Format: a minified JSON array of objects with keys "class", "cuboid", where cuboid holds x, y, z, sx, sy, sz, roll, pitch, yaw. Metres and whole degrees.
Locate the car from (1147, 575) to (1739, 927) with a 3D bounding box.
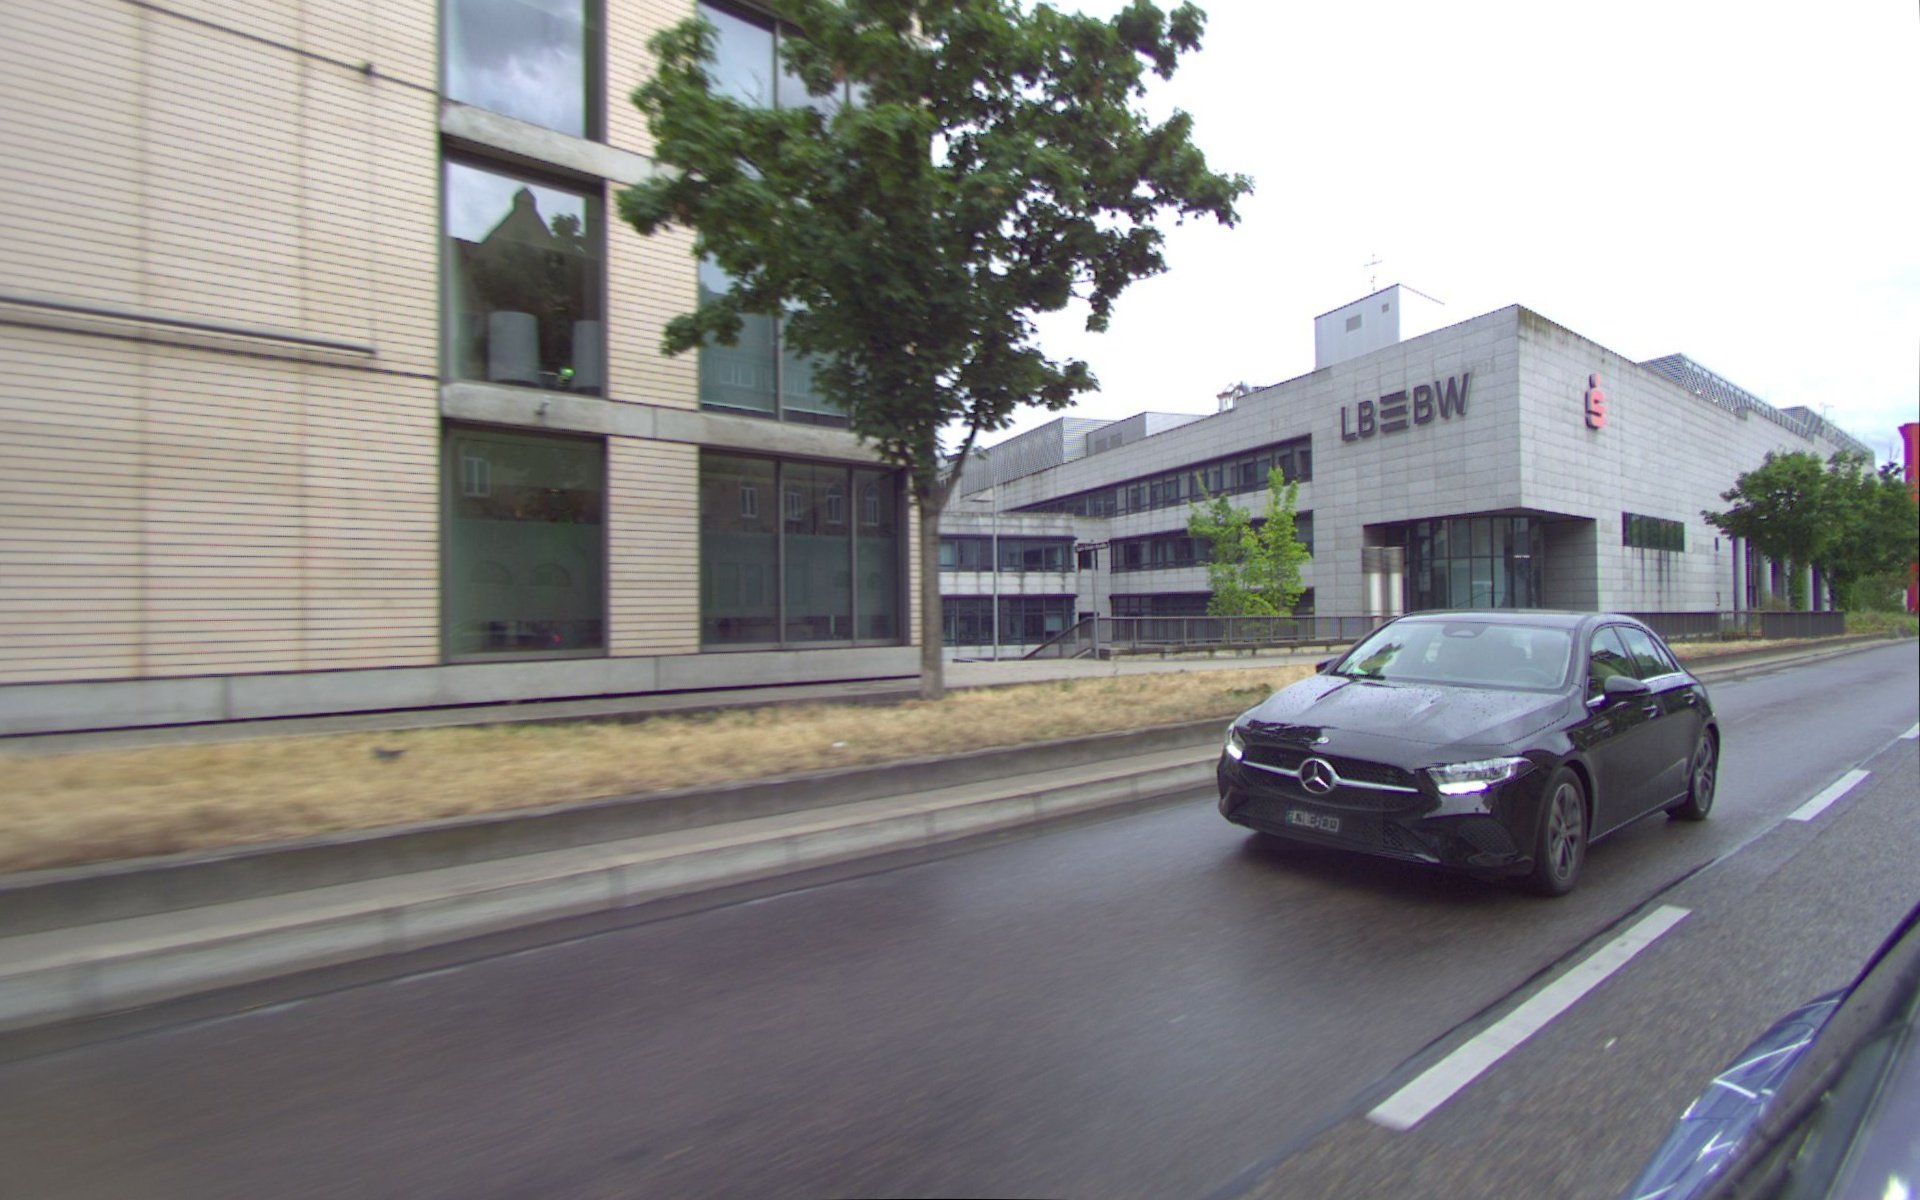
[{"class":"car","cuboid":[3.202,0.677,6.293,4.132,1.455,1.875,2,-1,-42]}]
